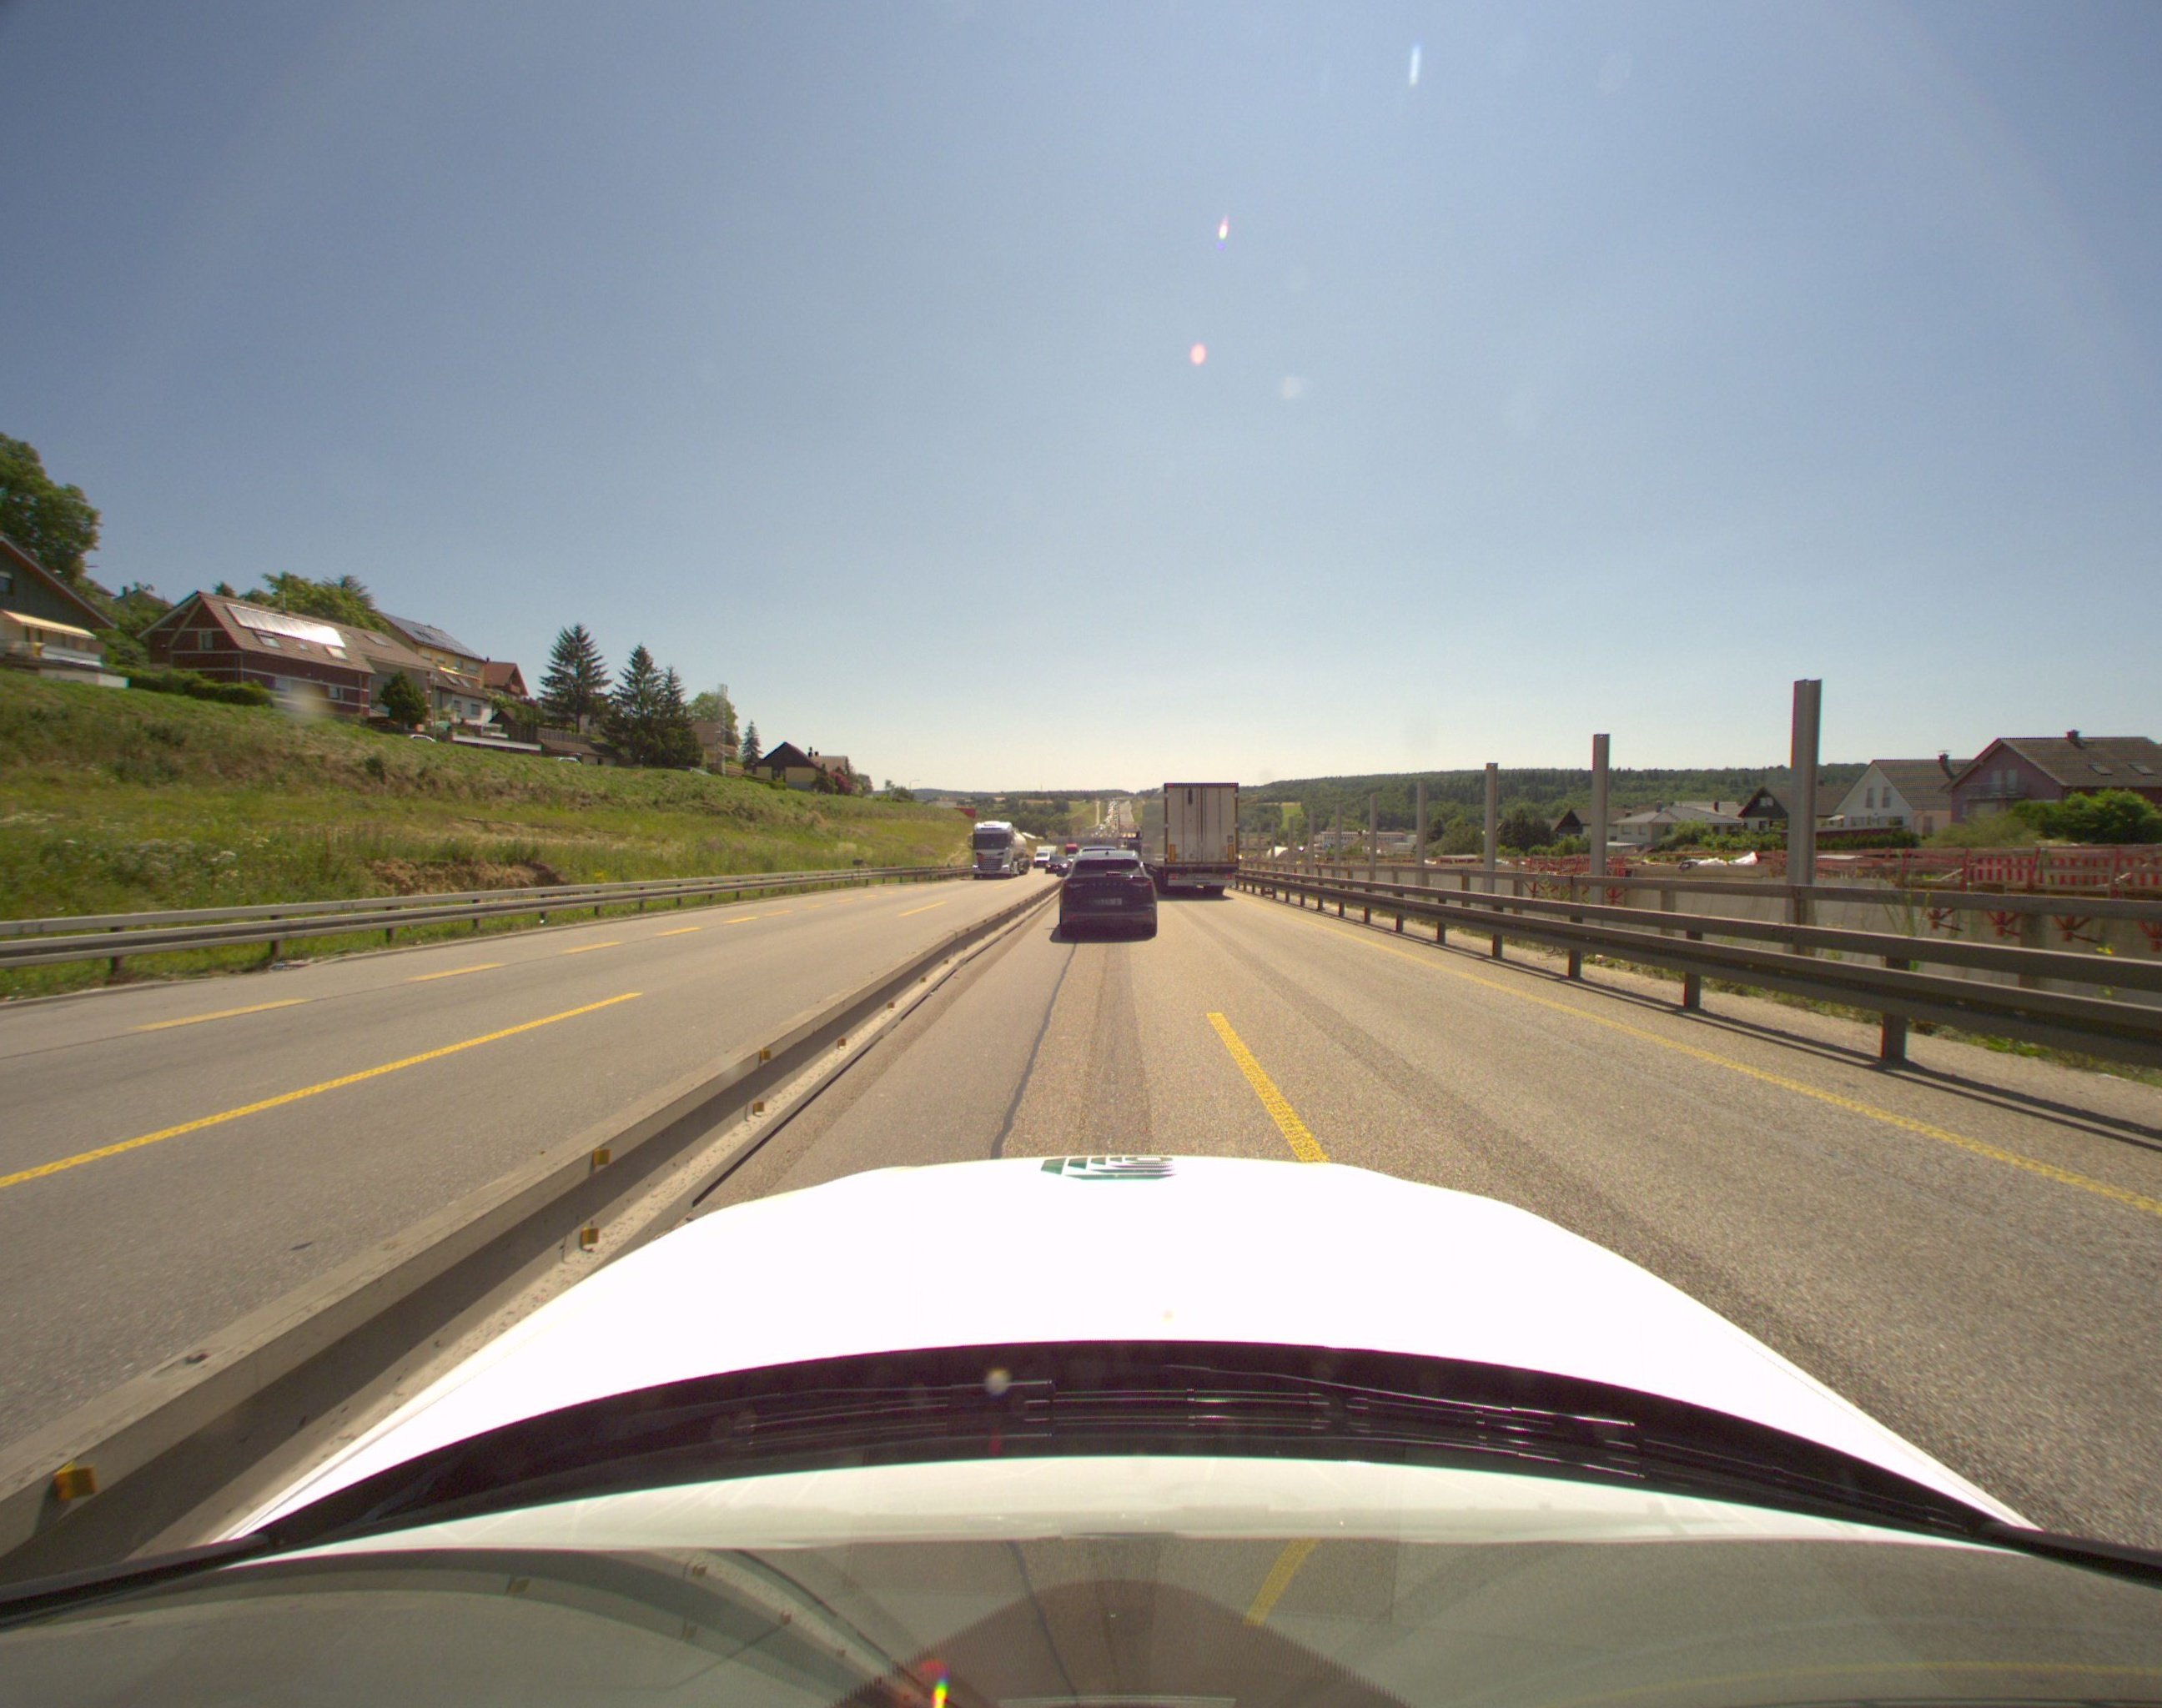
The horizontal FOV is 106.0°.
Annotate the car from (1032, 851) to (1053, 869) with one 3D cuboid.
[{"bbox_3d":[-4.316,0.623,92.117,1.986,1.971,5.345,-1,0,2],"label":"car"}]

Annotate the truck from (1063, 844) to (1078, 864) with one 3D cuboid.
[{"bbox_3d":[-2.171,0.035,175.049,2.842,4.140,11.919,0,-1,1],"label":"truck"}]

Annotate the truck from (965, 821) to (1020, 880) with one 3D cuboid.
[{"bbox_3d":[-5.751,-0.224,53.997,2.769,3.672,6.278,0,0,1],"label":"truck"}]

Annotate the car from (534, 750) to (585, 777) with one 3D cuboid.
[{"bbox_3d":[-50.407,-8.732,78.807,1.983,2.014,4.008,-1,-1,7],"label":"car"}]

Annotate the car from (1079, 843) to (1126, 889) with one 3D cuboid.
[{"bbox_3d":[0.964,0.552,36.779,1.986,1.926,4.508,0,-1,1],"label":"car"}]

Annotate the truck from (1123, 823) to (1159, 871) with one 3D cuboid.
[{"bbox_3d":[5.856,-0.590,80.531,3.168,4.513,8.168,0,-1,2],"label":"truck"}]

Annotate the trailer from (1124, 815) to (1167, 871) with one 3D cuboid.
[{"bbox_3d":[5.617,-0.756,73.384,3.168,4.513,14.971,0,-1,2],"label":"trailer"}]

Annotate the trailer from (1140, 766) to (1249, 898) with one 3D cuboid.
[{"bbox_3d":[4.390,-0.787,34.621,3.168,4.513,13.114,0,0,2],"label":"trailer"}]

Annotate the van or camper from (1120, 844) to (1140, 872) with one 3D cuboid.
[{"bbox_3d":[6.119,0.536,101.715,2.378,3.281,6.475,-1,-1,4],"label":"van or camper"}]

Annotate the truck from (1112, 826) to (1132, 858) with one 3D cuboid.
[{"bbox_3d":[6.376,-1.759,127.858,2.842,4.465,11.919,0,-1,1],"label":"truck"}]

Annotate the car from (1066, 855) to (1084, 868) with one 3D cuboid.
[{"bbox_3d":[-0.623,0.819,93.673,1.905,1.480,4.638,-1,0,2],"label":"car"}]

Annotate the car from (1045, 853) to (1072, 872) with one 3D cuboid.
[{"bbox_3d":[-1.771,0.636,65.550,1.887,1.414,4.682,-1,0,2],"label":"car"}]

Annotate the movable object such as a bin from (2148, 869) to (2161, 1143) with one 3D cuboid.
[{"bbox_3d":[20.182,2.522,9.358,3.215,4.743,9.657,0,-1,2],"label":"movable object such as a bin"}]

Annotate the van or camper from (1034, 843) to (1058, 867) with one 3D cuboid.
[{"bbox_3d":[-4.170,0.128,98.730,2.348,2.676,7.861,-1,0,2],"label":"van or camper"}]

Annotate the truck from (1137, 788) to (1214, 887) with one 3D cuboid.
[{"bbox_3d":[4.563,-0.766,41.094,3.168,4.513,8.169,0,0,2],"label":"truck"}]

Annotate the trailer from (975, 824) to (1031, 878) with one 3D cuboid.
[{"bbox_3d":[-5.573,-0.224,60.481,2.707,3.594,11.797,0,0,1],"label":"trailer"}]

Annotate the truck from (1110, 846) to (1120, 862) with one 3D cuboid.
[{"bbox_3d":[9.712,-0.015,231.774,2.630,4.194,9.287,0,-1,2],"label":"truck"}]

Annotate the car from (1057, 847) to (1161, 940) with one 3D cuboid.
[{"bbox_3d":[0.576,0.716,16.279,1.795,1.607,4.002,0,-1,2],"label":"car"}]
